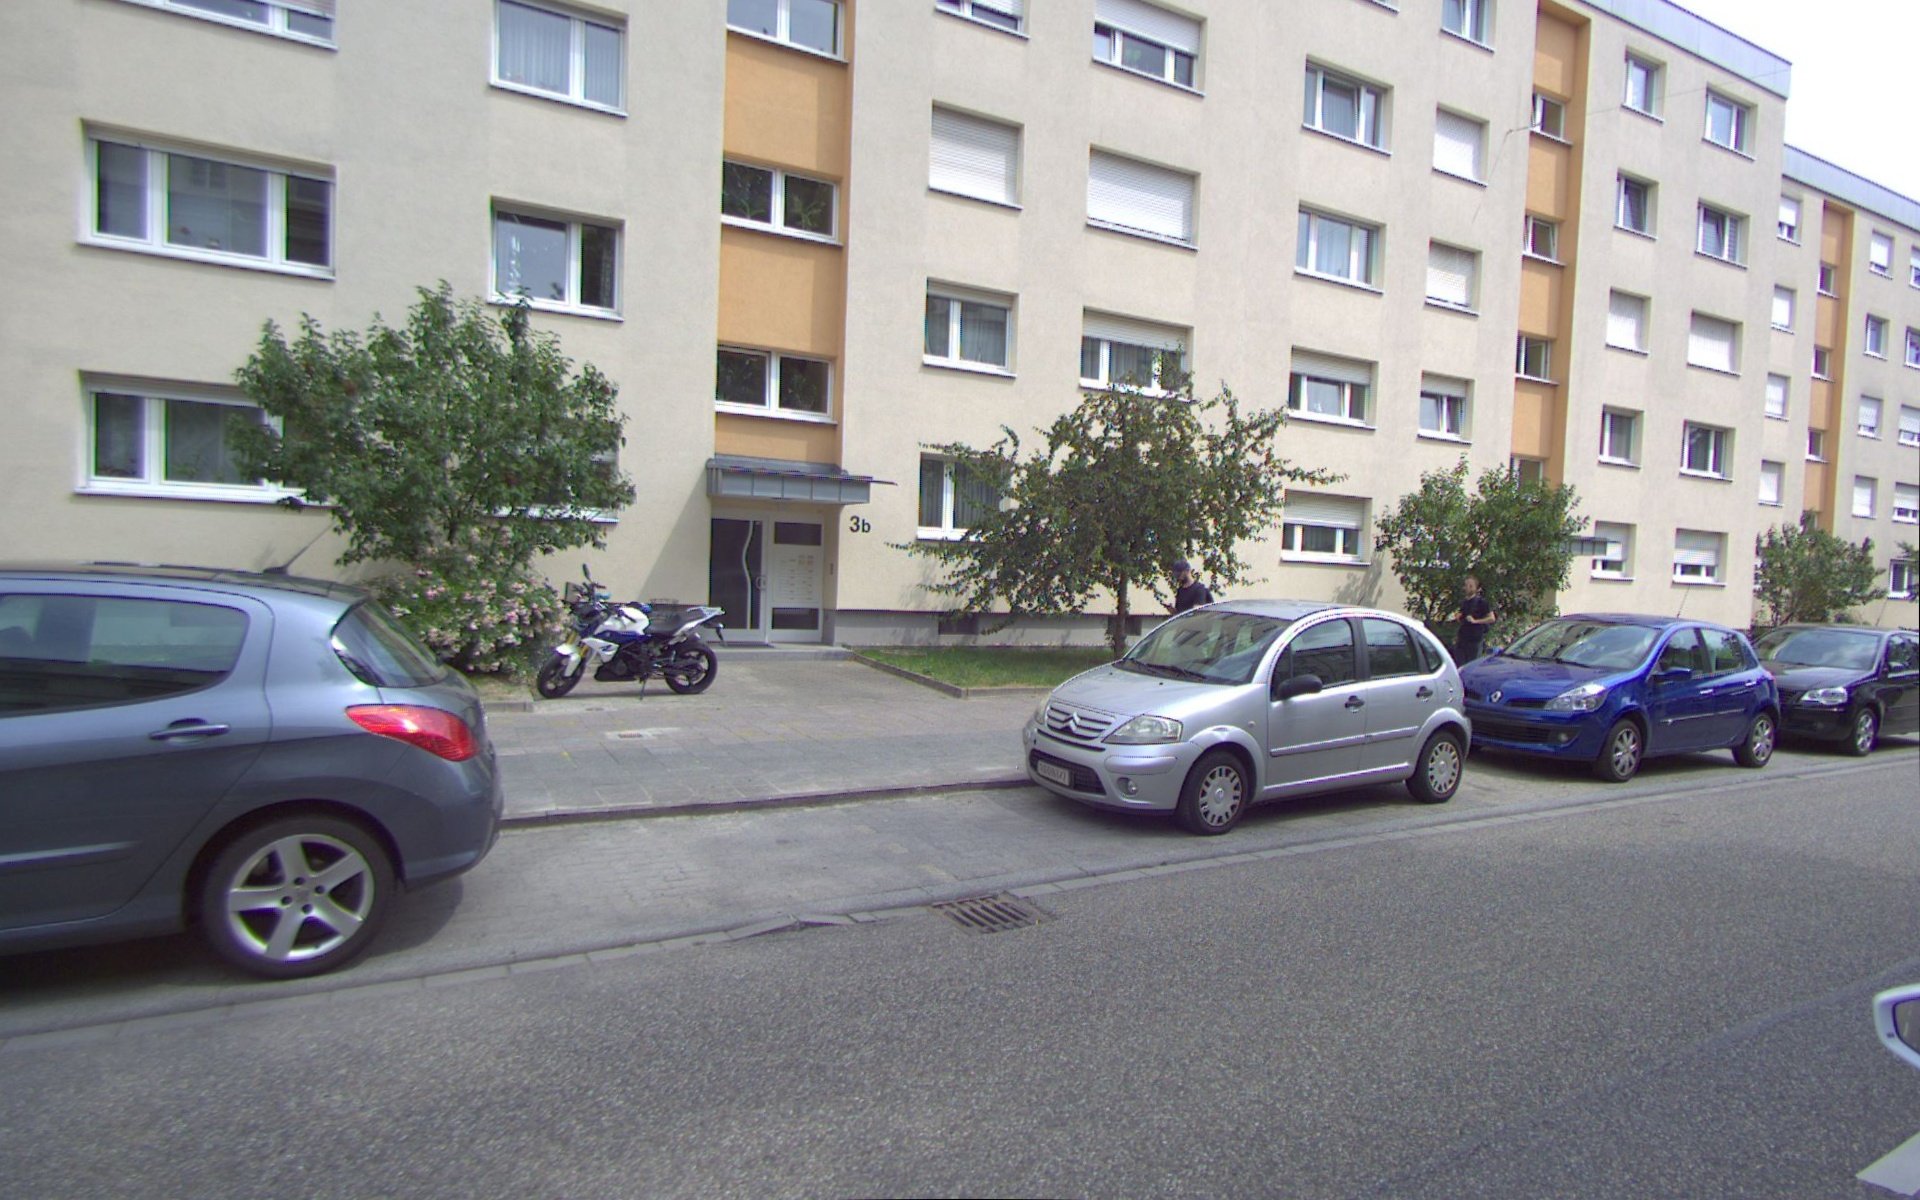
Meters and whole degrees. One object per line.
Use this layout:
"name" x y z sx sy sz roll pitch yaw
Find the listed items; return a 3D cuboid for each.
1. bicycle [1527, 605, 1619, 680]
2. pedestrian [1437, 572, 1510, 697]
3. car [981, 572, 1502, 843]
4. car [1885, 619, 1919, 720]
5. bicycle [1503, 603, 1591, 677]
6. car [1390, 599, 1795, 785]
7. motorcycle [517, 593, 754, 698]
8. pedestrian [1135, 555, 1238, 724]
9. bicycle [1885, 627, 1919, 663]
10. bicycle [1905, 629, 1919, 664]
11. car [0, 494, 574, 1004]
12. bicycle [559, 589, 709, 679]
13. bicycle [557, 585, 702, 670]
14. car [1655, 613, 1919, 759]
"bicycle" 12.107 0.824 19.815 2.102 1.412 0.460 1 2 -27
"pedestrian" 7.794 0.518 15.246 0.795 1.837 0.616 1 1 -32
"car" 2.238 0.680 7.760 3.808 1.583 1.661 2 3 -31
"car" 16.950 1.133 16.370 3.959 1.560 1.713 1 2 -32
"bicycle" 11.934 0.792 20.401 2.102 1.431 0.460 1 2 -28
"car" 6.516 0.839 10.317 3.836 1.503 1.810 2 2 -28
"motorcycle" -3.415 0.469 10.669 2.290 0.999 0.658 2 2 -30
"pedestrian" 2.577 0.438 11.451 0.889 1.837 0.616 1 2 -32
"bicycle" 28.385 1.331 29.970 2.416 0.993 0.450 1 2 -30
"bicycle" 28.577 1.348 29.532 2.416 0.993 0.450 1 2 -30
"car" -3.885 0.416 3.829 4.251 1.634 1.933 2 3 -30
"bicycle" -3.832 0.401 11.855 1.597 0.999 0.438 2 2 -30
"bicycle" -4.134 0.351 12.619 1.654 0.999 0.438 2 2 -30
"car" 11.035 1.014 12.867 4.065 1.503 1.810 2 2 -29
